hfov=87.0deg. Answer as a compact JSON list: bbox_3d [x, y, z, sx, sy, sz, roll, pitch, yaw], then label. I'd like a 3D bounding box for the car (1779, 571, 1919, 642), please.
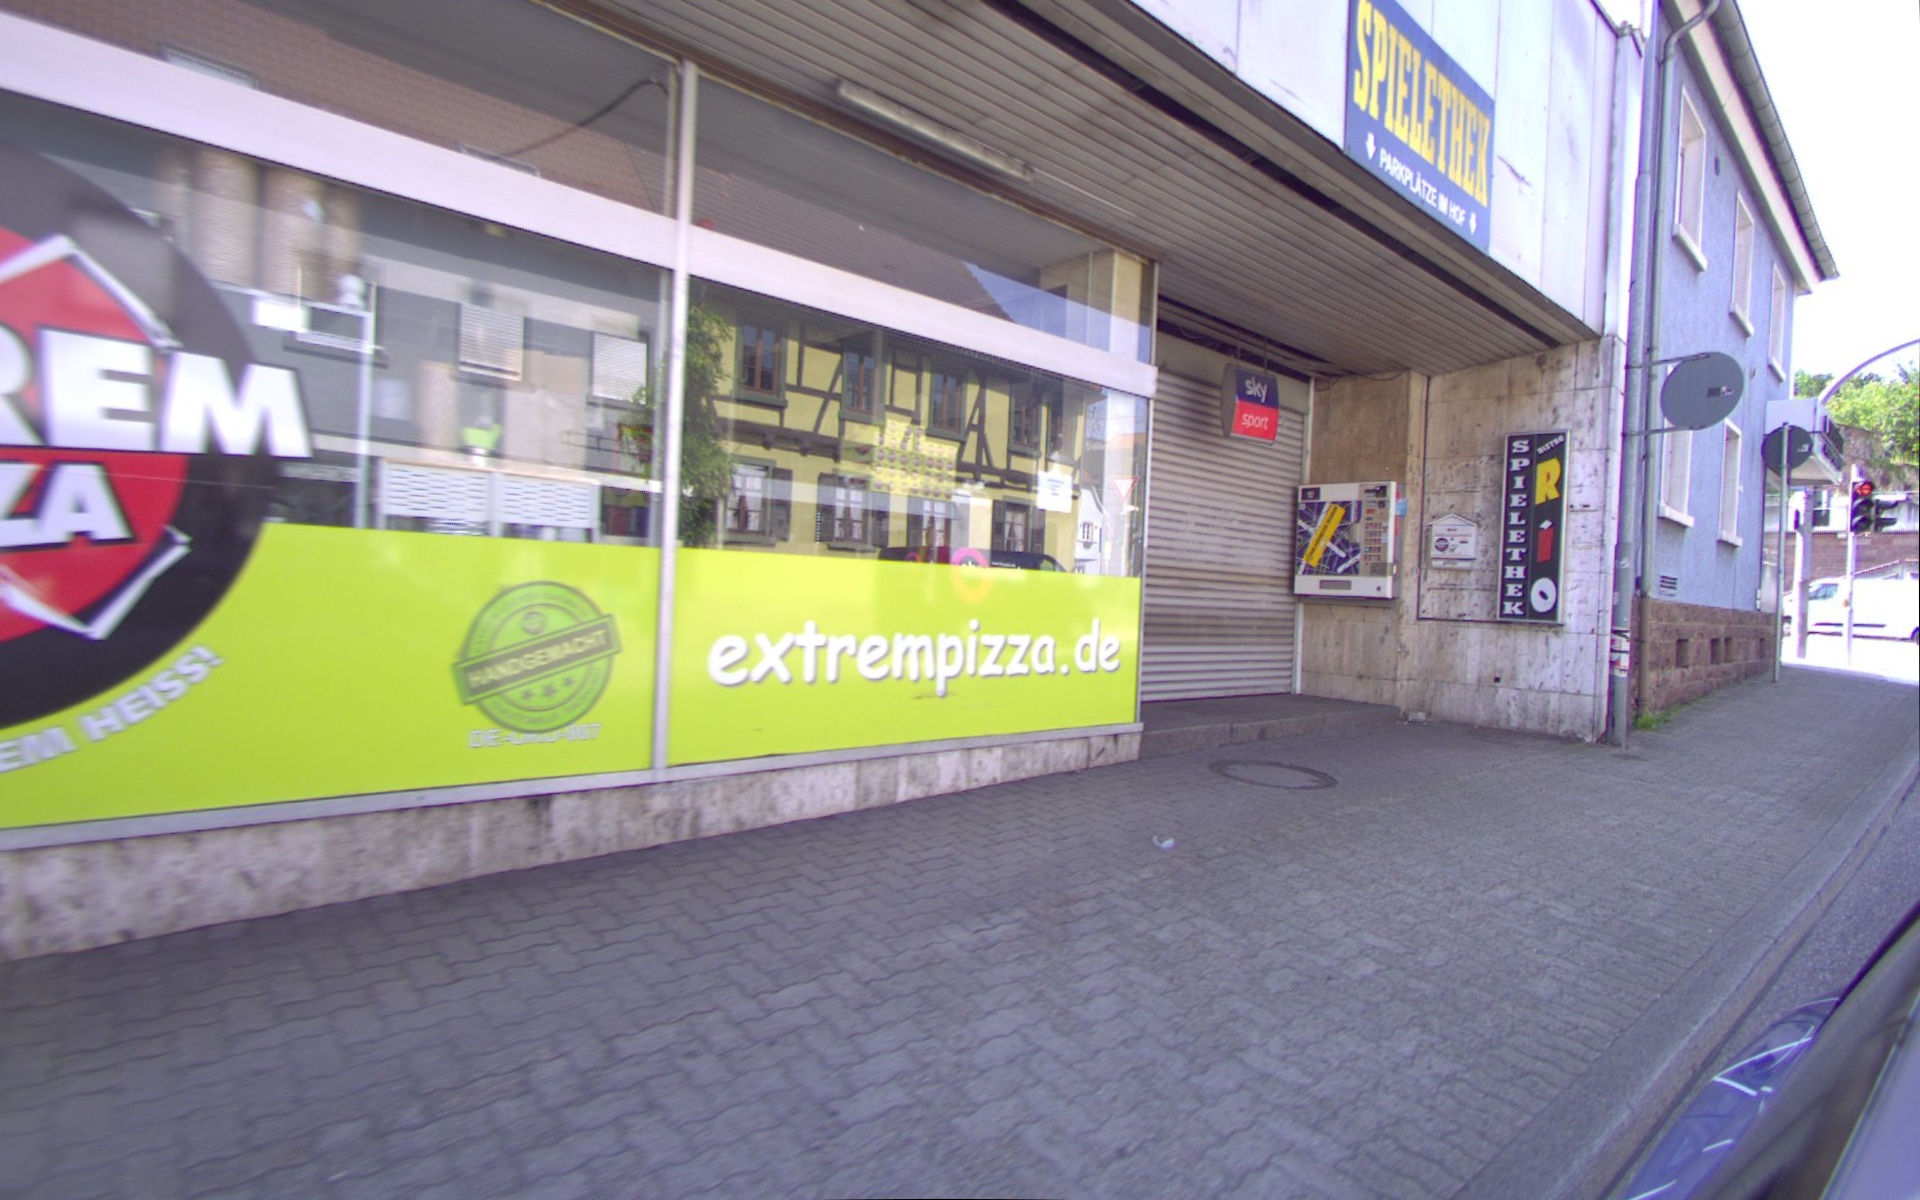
[{"bbox_3d":[28.296,0.231,30.501,2.105,1.991,5.273,2,1,-39],"label":"car"}]
